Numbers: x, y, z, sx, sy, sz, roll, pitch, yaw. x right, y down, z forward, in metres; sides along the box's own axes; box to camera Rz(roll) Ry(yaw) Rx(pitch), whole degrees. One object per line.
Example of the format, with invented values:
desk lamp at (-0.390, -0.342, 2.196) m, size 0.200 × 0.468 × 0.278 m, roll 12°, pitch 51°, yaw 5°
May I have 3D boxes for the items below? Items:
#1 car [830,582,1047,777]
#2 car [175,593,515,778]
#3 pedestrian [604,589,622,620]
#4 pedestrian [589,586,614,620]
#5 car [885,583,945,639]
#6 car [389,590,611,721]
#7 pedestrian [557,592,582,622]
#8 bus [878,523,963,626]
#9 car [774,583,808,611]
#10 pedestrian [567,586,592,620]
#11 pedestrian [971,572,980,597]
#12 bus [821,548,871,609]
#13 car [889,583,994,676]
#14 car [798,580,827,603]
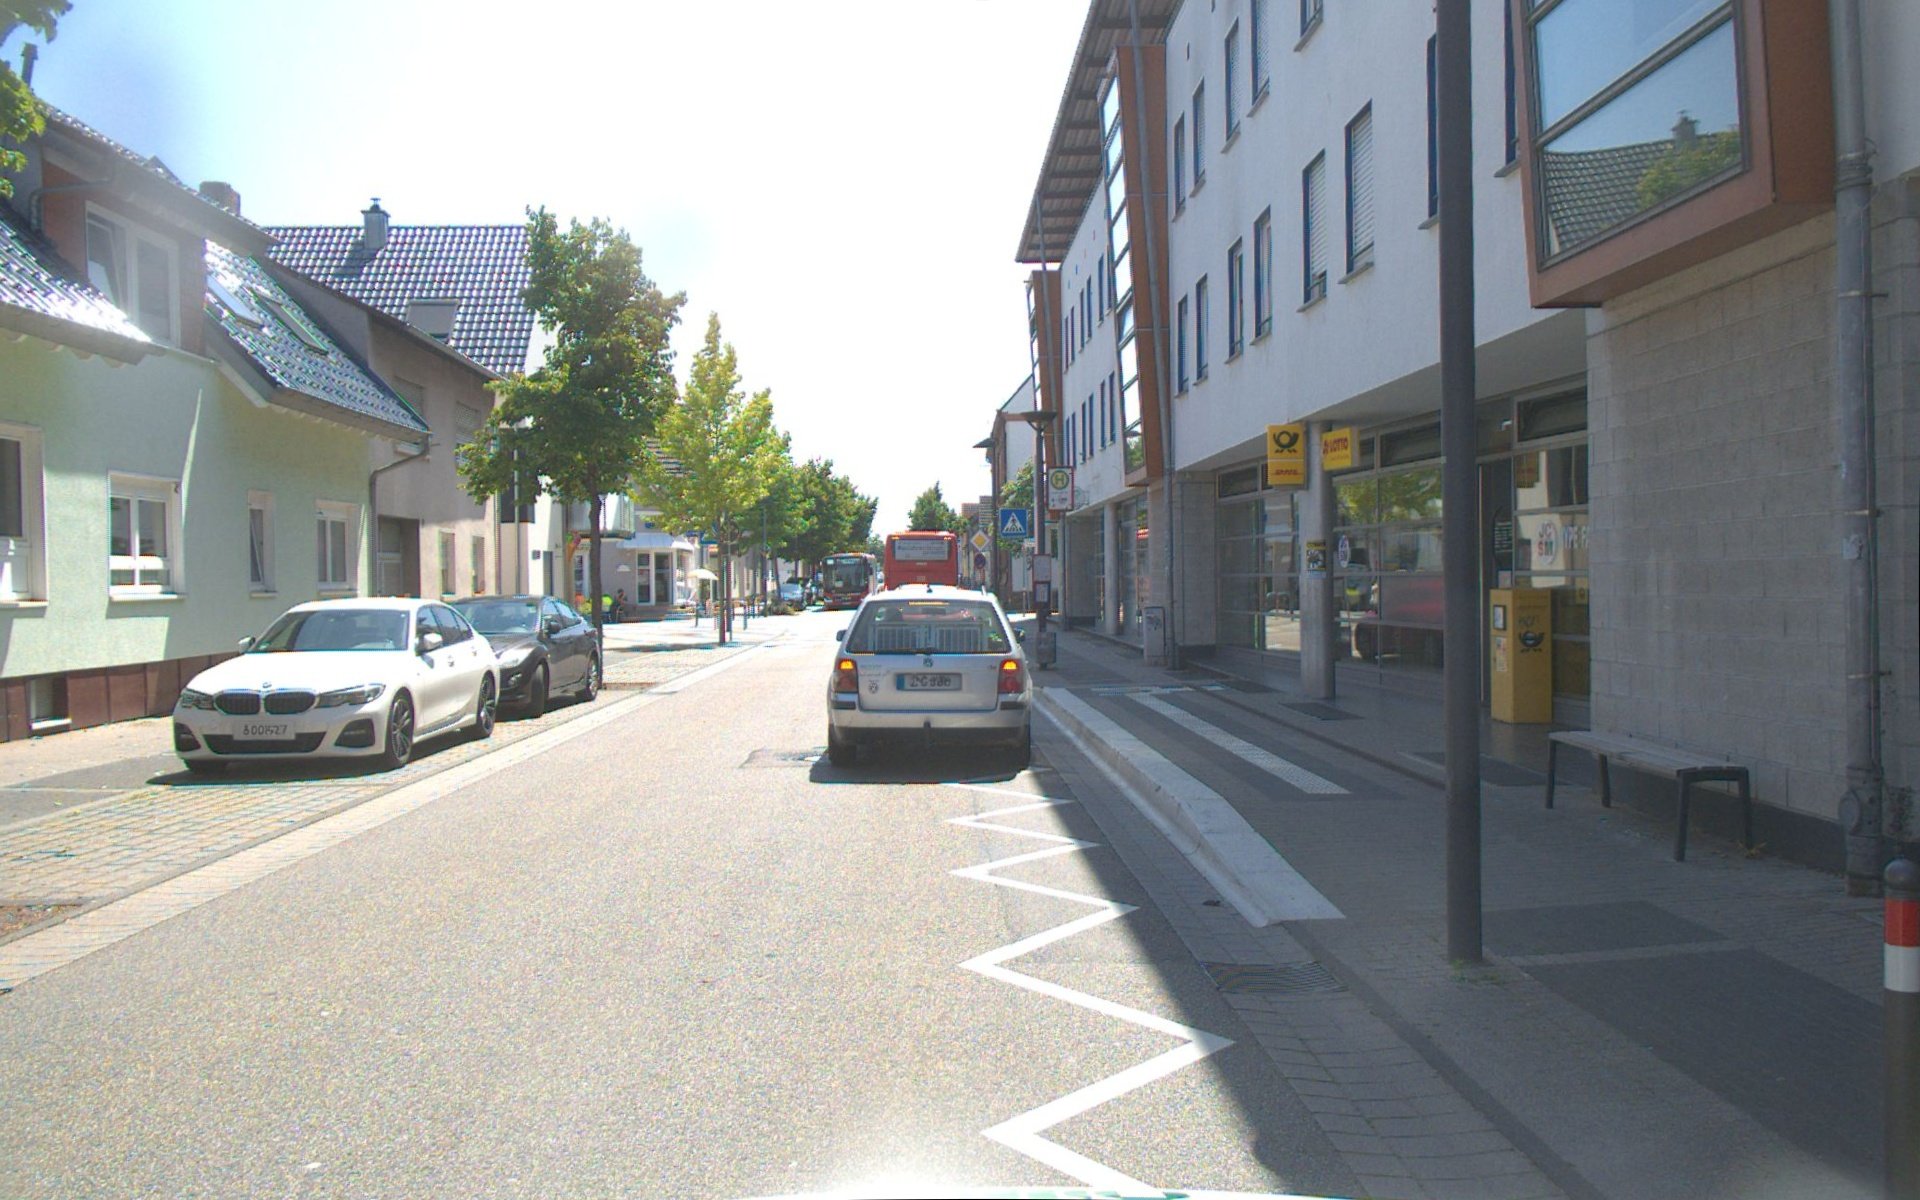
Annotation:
car at (-0.223, 0.597, 14.660) m, size 1.643 × 1.455 × 3.678 m, roll 2°, pitch 1°, yaw -2°
car at (-5.605, 0.685, 15.698) m, size 1.685 × 1.462 × 4.458 m, roll 0°, pitch 1°, yaw -2°
pedestrian at (-13.878, 0.171, 66.109) m, size 0.610 × 1.199 × 0.696 m, roll -1°, pitch 0°, yaw -6°
pedestrian at (-14.064, 0.126, 64.901) m, size 0.776 × 1.311 × 0.631 m, roll 2°, pitch 0°, yaw 45°
car at (-1.213, 0.272, 45.167) m, size 1.561 × 1.455 × 3.679 m, roll 0°, pitch 1°, yaw -1°
car at (-5.748, 0.621, 21.221) m, size 1.627 × 1.462 × 4.538 m, roll -1°, pitch 1°, yaw -1°
pedestrian at (-15.198, 0.278, 64.351) m, size 0.776 × 1.135 × 0.631 m, roll 2°, pitch 0°, yaw 45°
bus at (-1.618, -0.885, 60.454) m, size 2.686 × 3.356 × 12.697 m, roll 0°, pitch 0°, yaw -3°
car at (-9.186, -0.194, 89.928) m, size 1.573 × 1.463 × 4.063 m, roll -1°, pitch 1°, yaw -2°
pedestrian at (-15.002, 0.102, 65.152) m, size 0.776 × 1.311 × 0.631 m, roll 2°, pitch 0°, yaw 45°
pedestrian at (1.063, -1.075, 114.276) m, size 0.594 × 1.696 × 0.789 m, roll -1°, pitch 0°, yaw -3°
bus at (-6.724, -1.348, 97.924) m, size 2.616 × 3.178 × 17.794 m, roll -2°, pitch 1°, yaw -4°
car at (-0.352, 0.448, 28.236) m, size 1.643 × 1.455 × 3.678 m, roll 1°, pitch 1°, yaw -2°
car at (-10.340, -0.602, 116.184) m, size 1.775 × 1.586 × 3.999 m, roll -1°, pitch 1°, yaw -2°
